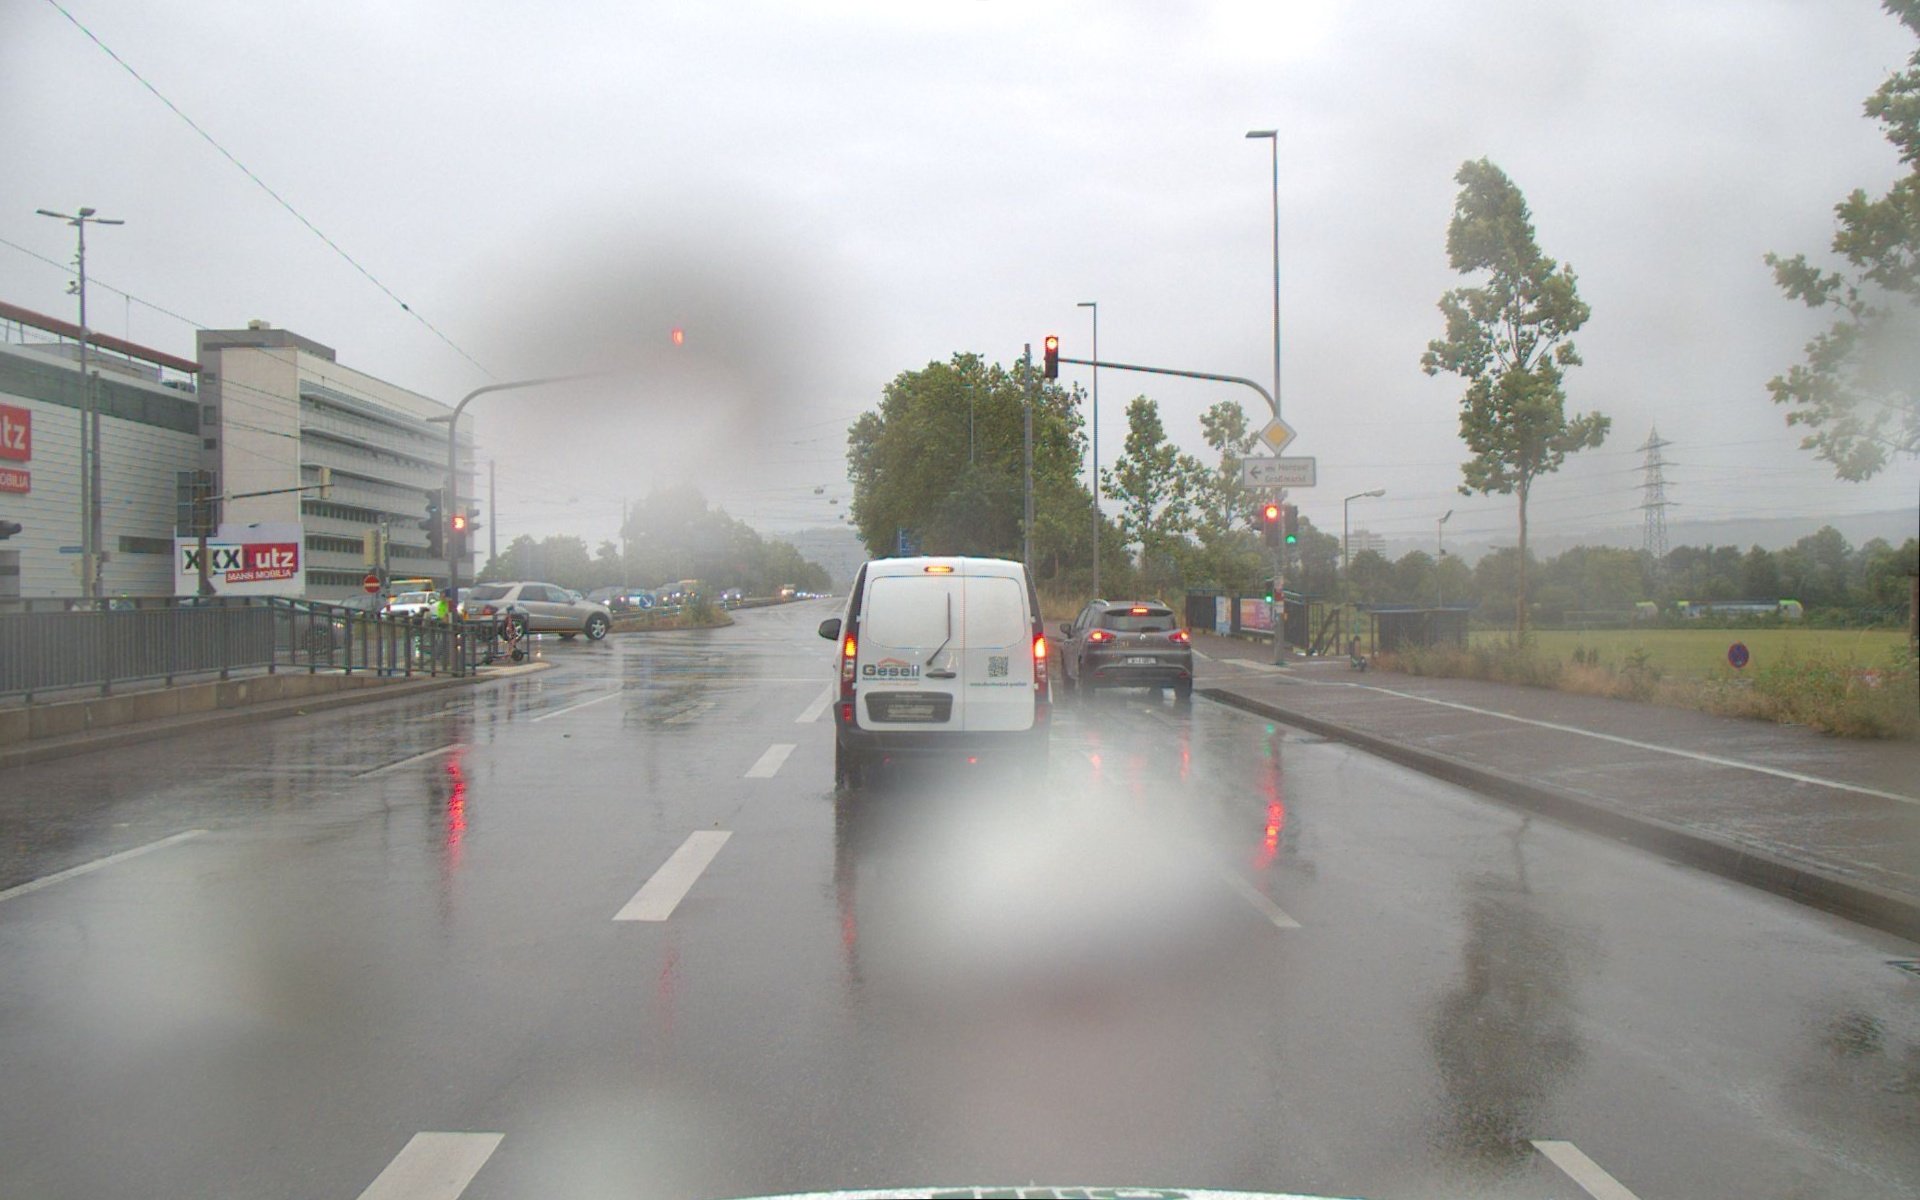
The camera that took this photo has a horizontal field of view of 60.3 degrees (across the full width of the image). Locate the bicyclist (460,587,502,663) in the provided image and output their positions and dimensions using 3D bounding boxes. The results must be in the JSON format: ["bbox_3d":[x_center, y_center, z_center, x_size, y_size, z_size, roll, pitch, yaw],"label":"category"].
[{"bbox_3d":[-9.809,0.509,33.859,0.600,1.517,0.591,1,-1,-41],"label":"bicyclist"}]

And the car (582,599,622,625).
[{"bbox_3d":[-21.907,0.749,101.305,1.676,1.451,3.808,2,-1,-1],"label":"car"}]

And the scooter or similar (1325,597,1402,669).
[{"bbox_3d":[7.395,0.575,30.456,0.676,1.232,3.020,-1,0,0],"label":"scooter or similar"}]

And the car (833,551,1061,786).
[{"bbox_3d":[-0.249,0.495,14.646,1.720,1.780,4.165,0,1,-4],"label":"car"}]

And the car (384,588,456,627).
[{"bbox_3d":[-21.922,0.327,67.285,1.676,1.451,3.808,2,-1,-1],"label":"car"}]

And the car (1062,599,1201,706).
[{"bbox_3d":[2.621,0.773,26.091,1.650,1.534,3.919,1,0,-2],"label":"car"}]

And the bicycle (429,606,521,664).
[{"bbox_3d":[-9.892,0.709,33.769,1.745,1.157,0.512,1,-1,-44],"label":"bicycle"}]

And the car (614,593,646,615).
[{"bbox_3d":[-23.002,0.273,115.260,1.528,1.451,3.567,2,-1,-1],"label":"car"}]

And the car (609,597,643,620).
[{"bbox_3d":[-21.861,0.569,108.455,1.528,1.451,3.567,2,-1,-1],"label":"car"}]

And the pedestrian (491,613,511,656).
[{"bbox_3d":[-9.951,0.737,35.838,0.309,0.913,0.380,2,0,-3],"label":"pedestrian"}]

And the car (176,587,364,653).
[{"bbox_3d":[-17.032,0.503,41.013,4.122,1.476,1.708,2,-1,-19],"label":"car"}]

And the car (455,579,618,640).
[{"bbox_3d":[-12.841,0.298,50.349,4.427,1.691,1.923,3,-2,-43],"label":"car"}]

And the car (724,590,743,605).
[{"bbox_3d":[-24.109,-0.283,176.203,1.528,1.451,3.567,2,-1,-1],"label":"car"}]
